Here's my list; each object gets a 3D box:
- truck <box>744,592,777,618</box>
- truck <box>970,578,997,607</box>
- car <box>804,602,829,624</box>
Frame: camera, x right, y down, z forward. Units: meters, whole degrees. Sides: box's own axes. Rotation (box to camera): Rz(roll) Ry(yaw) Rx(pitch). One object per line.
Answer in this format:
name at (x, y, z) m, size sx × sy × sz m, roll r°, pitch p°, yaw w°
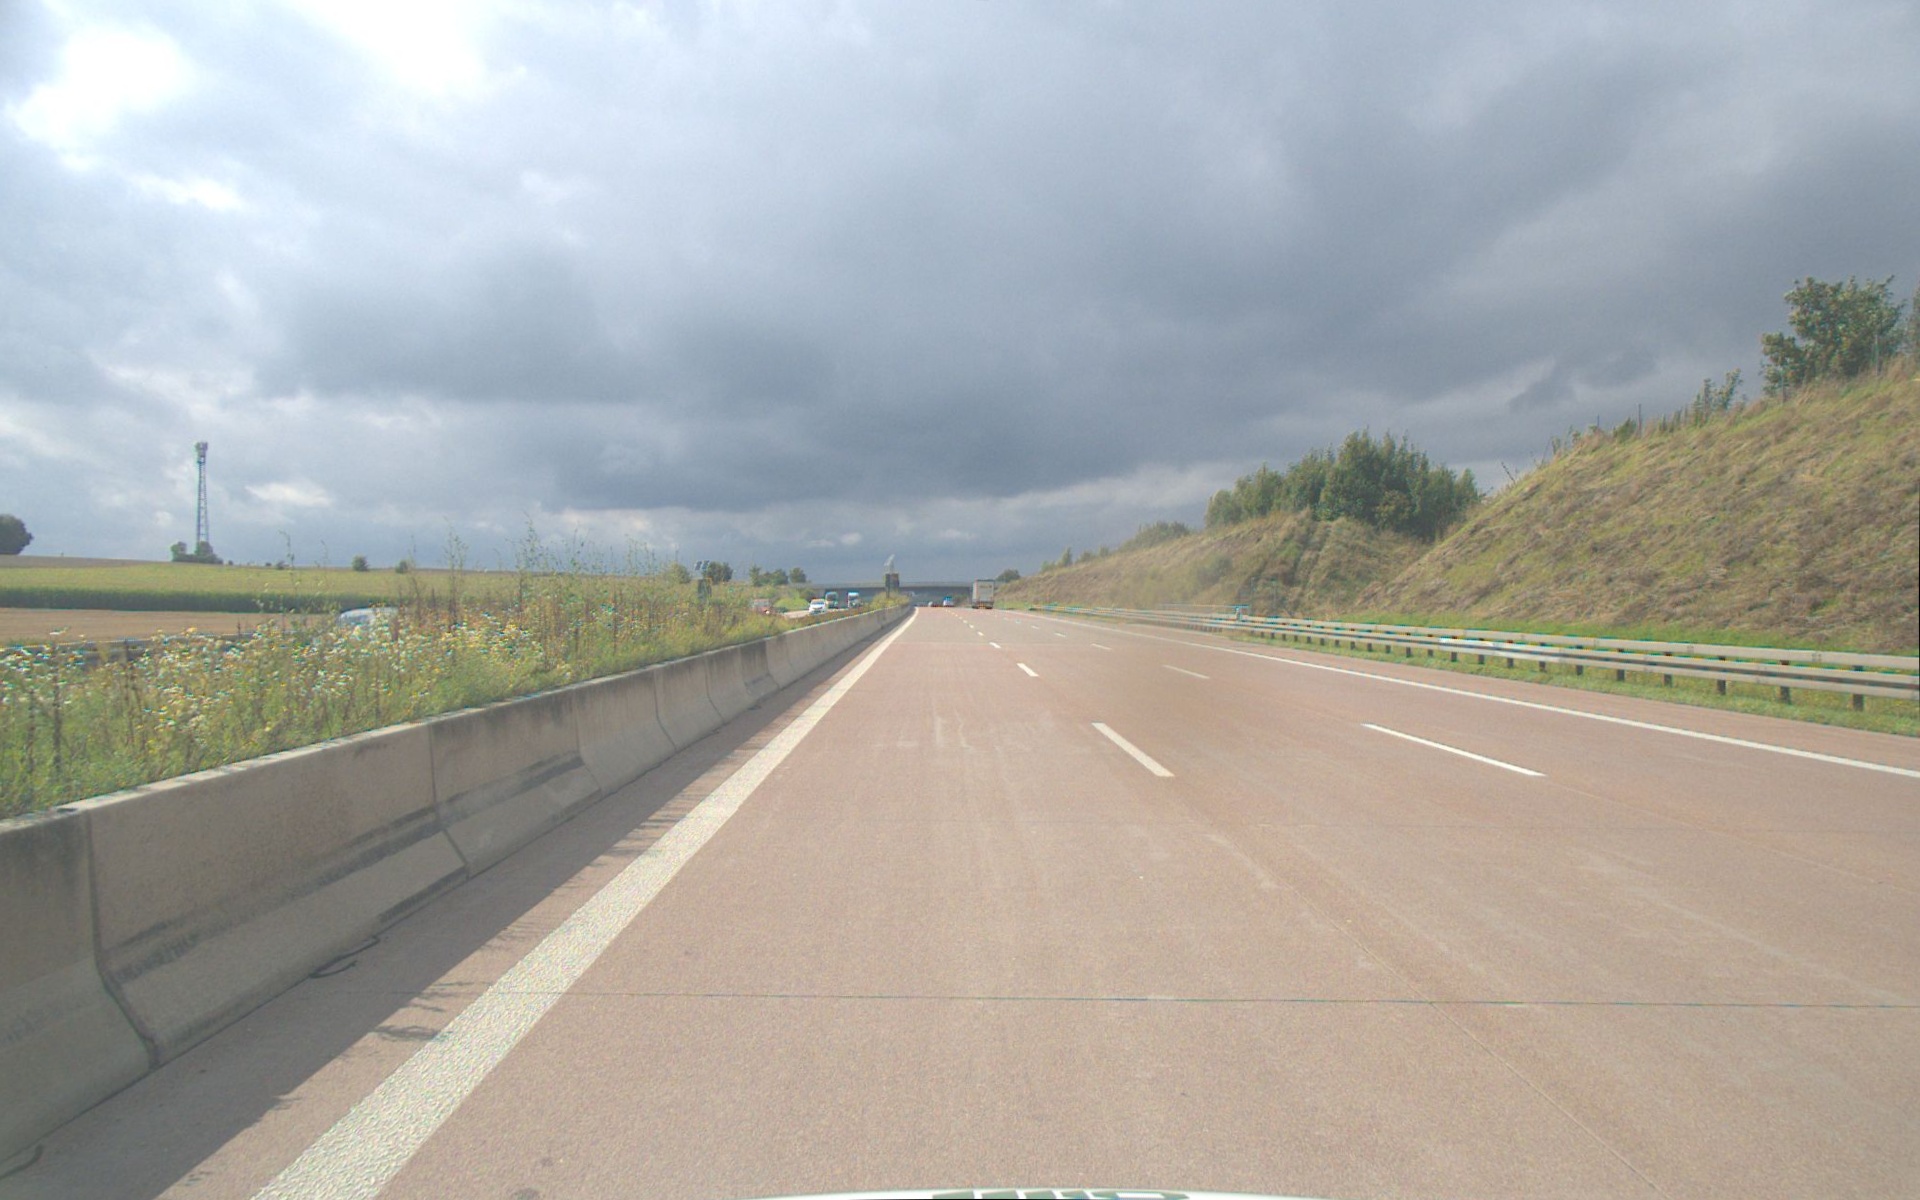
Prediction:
truck at (-13.259, 0.339, 110.082) m, size 1.672 × 1.601 × 4.980 m, roll -2°, pitch 1°, yaw -1°
truck at (3.349, -1.077, 238.692) m, size 3.543 × 4.014 × 11.173 m, roll 2°, pitch 0°, yaw 0°
car at (-14.294, 1.296, 164.510) m, size 1.952 × 2.106 × 4.712 m, roll -1°, pitch 0°, yaw 1°
